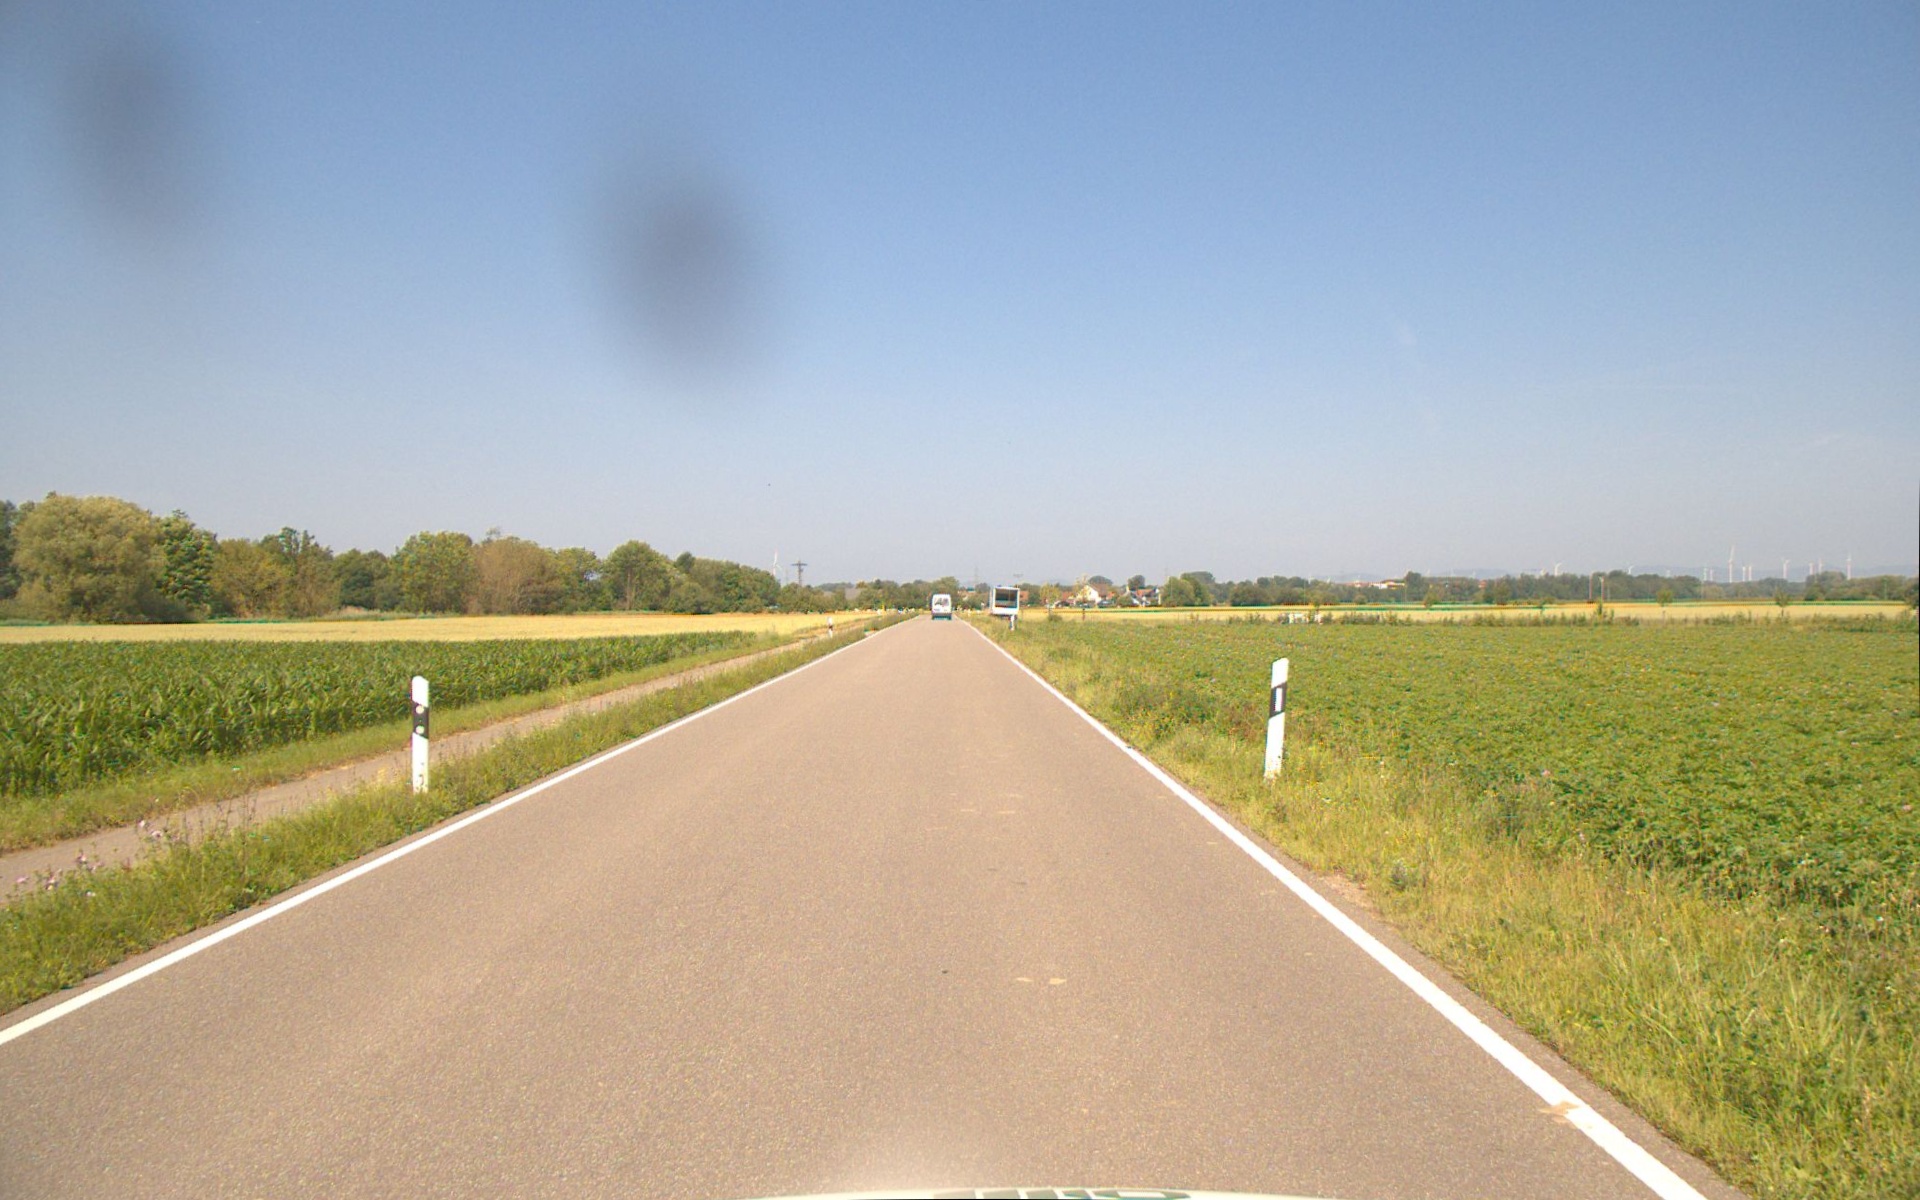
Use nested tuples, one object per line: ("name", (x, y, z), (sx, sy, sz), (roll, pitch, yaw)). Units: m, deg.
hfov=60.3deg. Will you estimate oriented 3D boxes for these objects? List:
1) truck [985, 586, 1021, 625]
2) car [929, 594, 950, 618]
("truck", (3.460, 0.487, 134.644), (2.289, 2.994, 7.004), (3, -1, -3))
("car", (-2.071, 0.622, 168.617), (2.064, 2.344, 5.494), (1, -1, -1))
